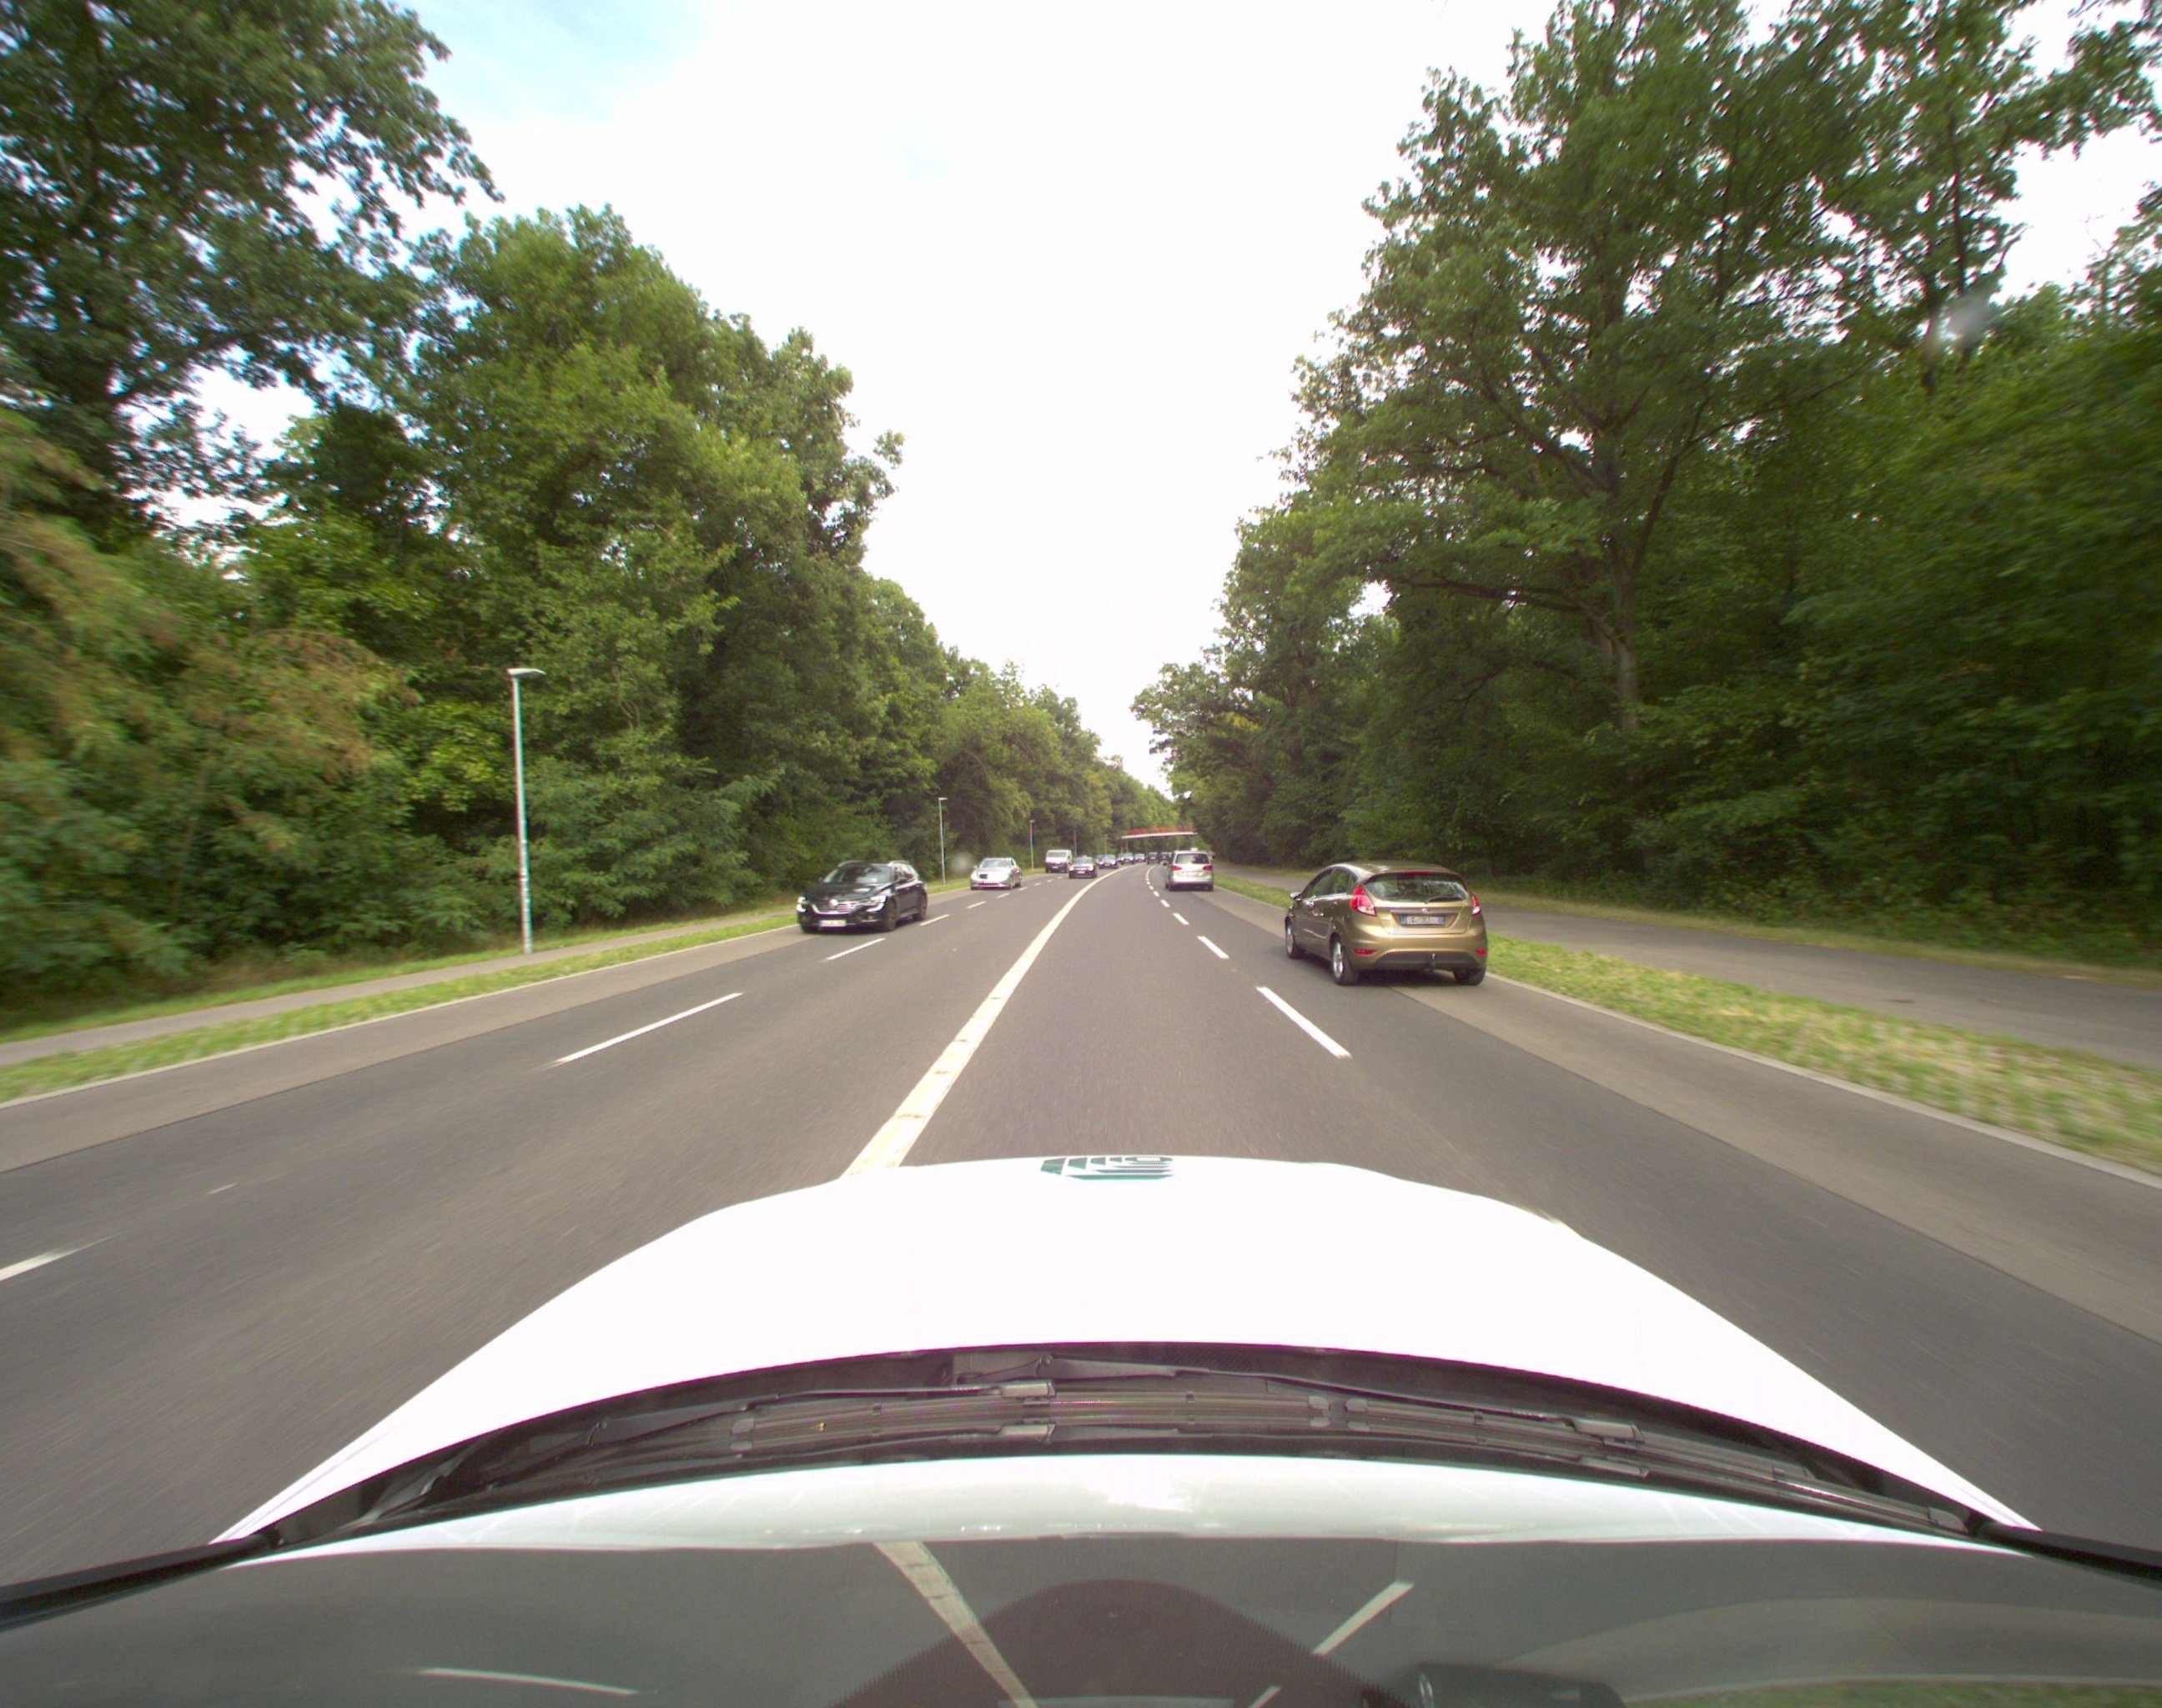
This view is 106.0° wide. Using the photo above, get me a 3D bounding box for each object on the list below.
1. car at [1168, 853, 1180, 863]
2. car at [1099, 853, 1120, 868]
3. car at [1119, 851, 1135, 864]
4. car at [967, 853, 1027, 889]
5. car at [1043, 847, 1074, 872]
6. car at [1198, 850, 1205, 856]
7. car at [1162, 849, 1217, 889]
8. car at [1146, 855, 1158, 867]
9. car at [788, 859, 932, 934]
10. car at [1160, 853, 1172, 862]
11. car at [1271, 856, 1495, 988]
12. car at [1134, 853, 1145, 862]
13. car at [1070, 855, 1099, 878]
[{"bbox_3d":[16.584,0.707,145.161,1.981,1.750,4.010,0,-1,9],"label":"car"},{"bbox_3d":[2.992,0.725,85.433,1.876,1.478,4.525,0,-1,5],"label":"car"},{"bbox_3d":[6.608,0.481,117.185,1.953,1.706,4.007,-4,-1,6],"label":"car"},{"bbox_3d":[-3.880,0.796,38.478,1.984,1.563,4.609,1,-1,4],"label":"car"},{"bbox_3d":[-1.892,0.514,70.763,1.984,2.014,5.061,-2,-1,6],"label":"car"},{"bbox_3d":[34.129,-0.318,230.368,1.981,1.706,4.011,-2,0,10],"label":"car"},{"bbox_3d":[4.590,0.646,34.878,1.985,1.607,4.002,1,-1,3],"label":"car"},{"bbox_3d":[10.234,1.037,116.956,1.721,1.587,4.006,0,-1,5],"label":"car"},{"bbox_3d":[-4.725,0.865,18.158,1.874,1.443,4.404,1,-1,1],"label":"car"},{"bbox_3d":[16.330,0.745,156.963,1.981,1.697,4.011,0,-1,10],"label":"car"},{"bbox_3d":[3.755,0.770,10.860,1.629,1.420,4.001,1,-1,2],"label":"car"},{"bbox_3d":[10.048,0.632,140.129,1.689,1.386,3.834,-4,-1,6],"label":"car"},{"bbox_3d":[0.252,0.829,54.665,1.649,1.486,3.871,1,-1,5],"label":"car"}]
